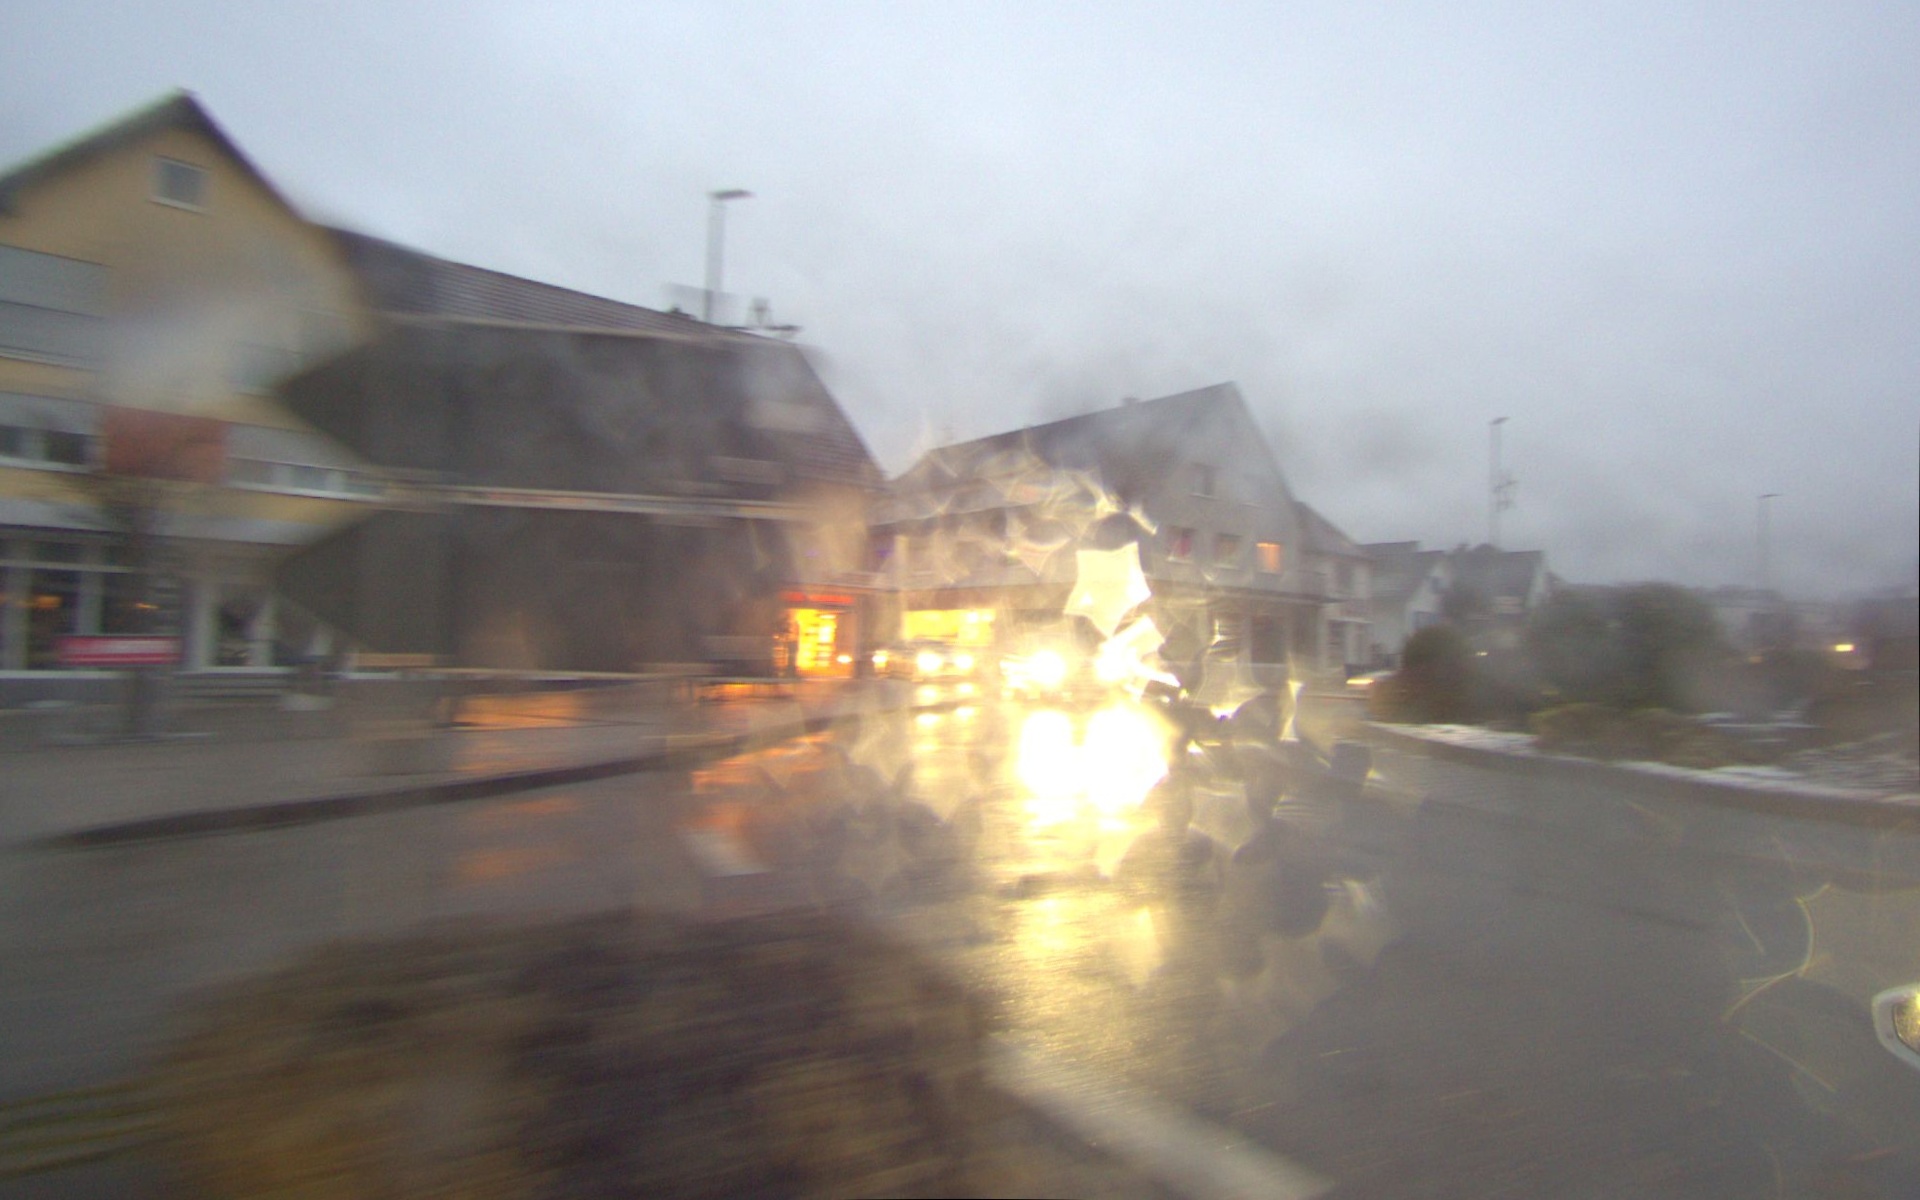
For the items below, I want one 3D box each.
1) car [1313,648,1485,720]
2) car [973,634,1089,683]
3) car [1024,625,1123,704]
[{"bbox_3d":[11.590,2.162,26.649,1.640,1.658,3.851,4,-3,-44],"label":"car"},{"bbox_3d":[2.616,2.196,38.154,1.884,1.632,4.450,3,-2,-38],"label":"car"},{"bbox_3d":[2.685,1.506,24.766,1.915,1.614,4.632,2,0,0],"label":"car"}]
